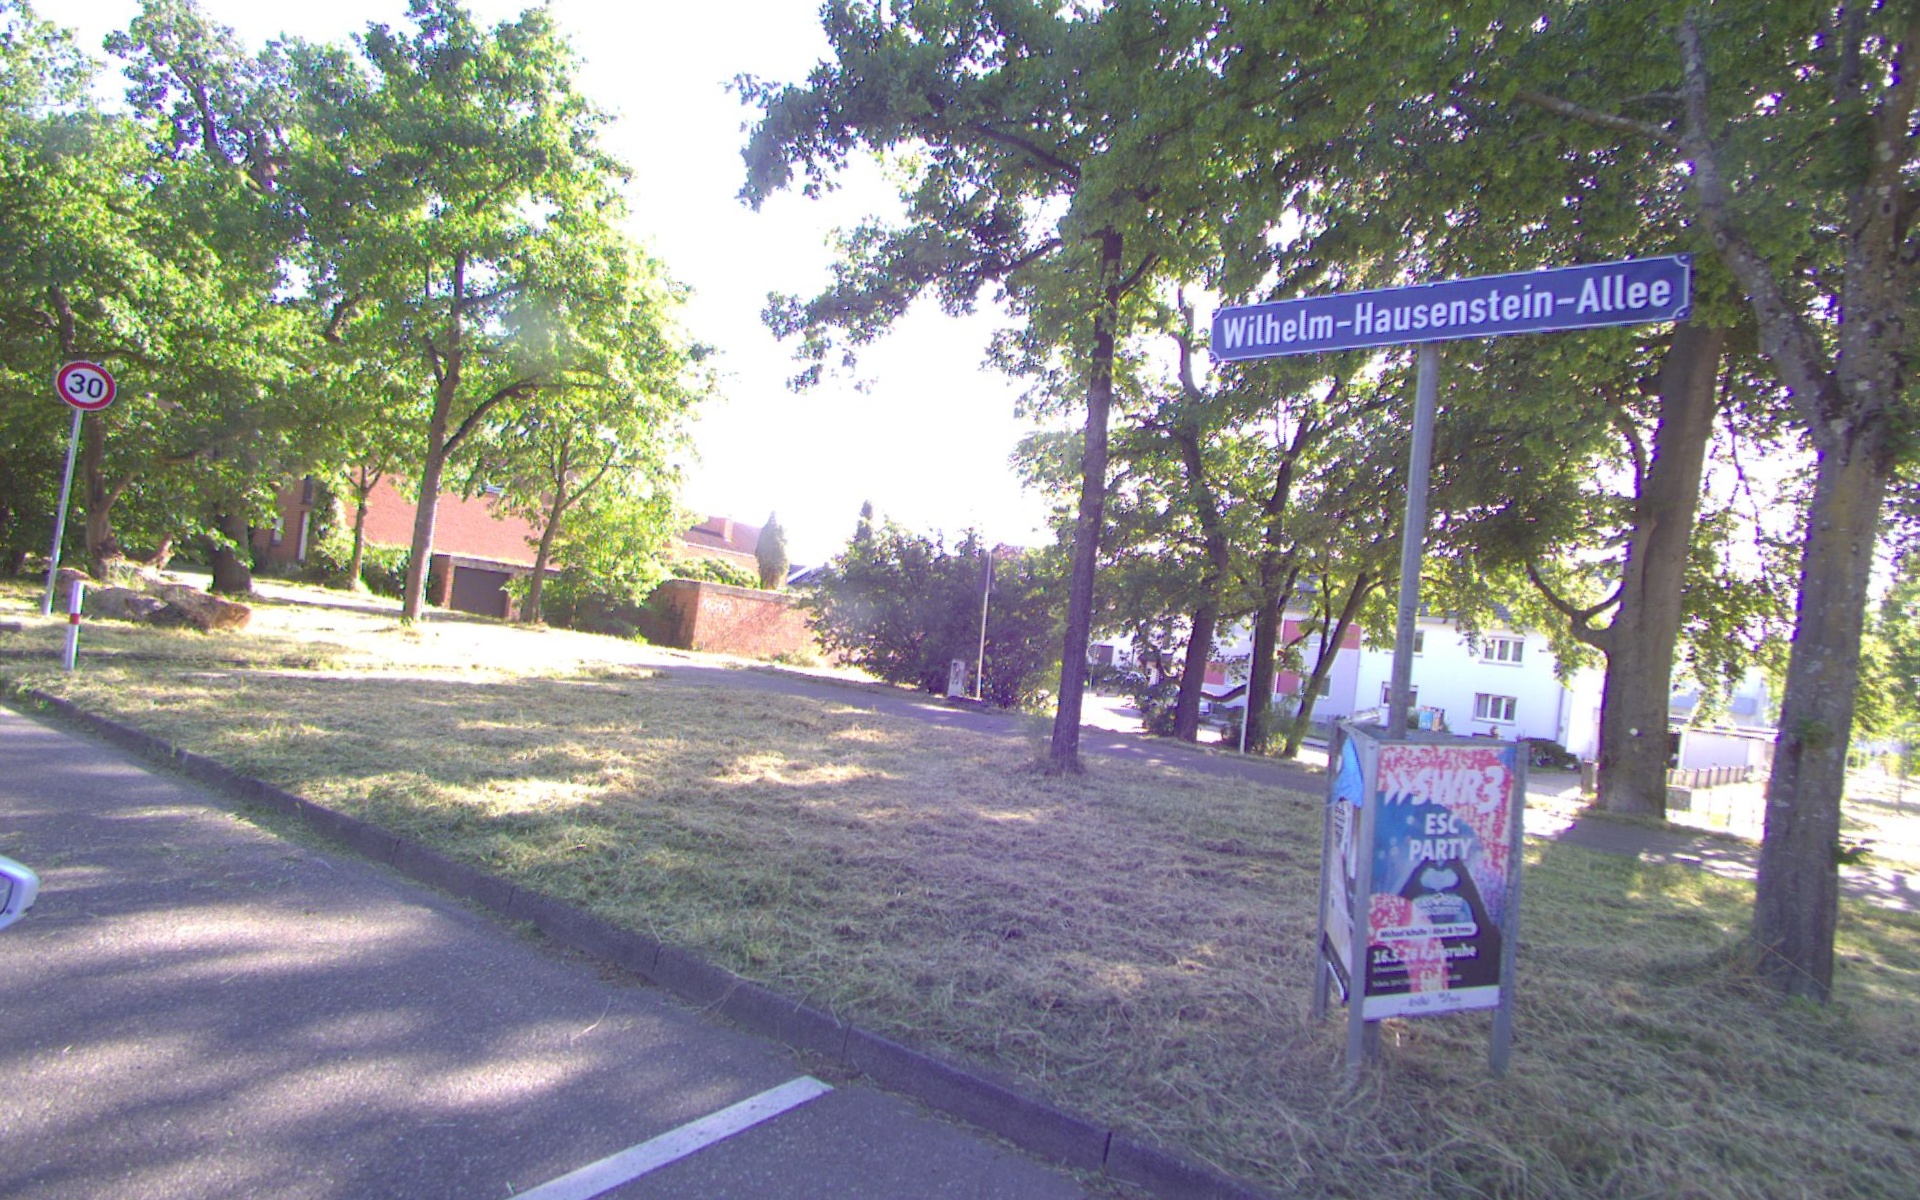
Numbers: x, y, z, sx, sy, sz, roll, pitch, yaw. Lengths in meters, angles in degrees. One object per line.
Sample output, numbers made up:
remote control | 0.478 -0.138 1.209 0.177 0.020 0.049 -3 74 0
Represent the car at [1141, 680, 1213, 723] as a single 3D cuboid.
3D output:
car | 10.278 4.818 47.812 1.514 1.569 3.160 9 -3 -30
